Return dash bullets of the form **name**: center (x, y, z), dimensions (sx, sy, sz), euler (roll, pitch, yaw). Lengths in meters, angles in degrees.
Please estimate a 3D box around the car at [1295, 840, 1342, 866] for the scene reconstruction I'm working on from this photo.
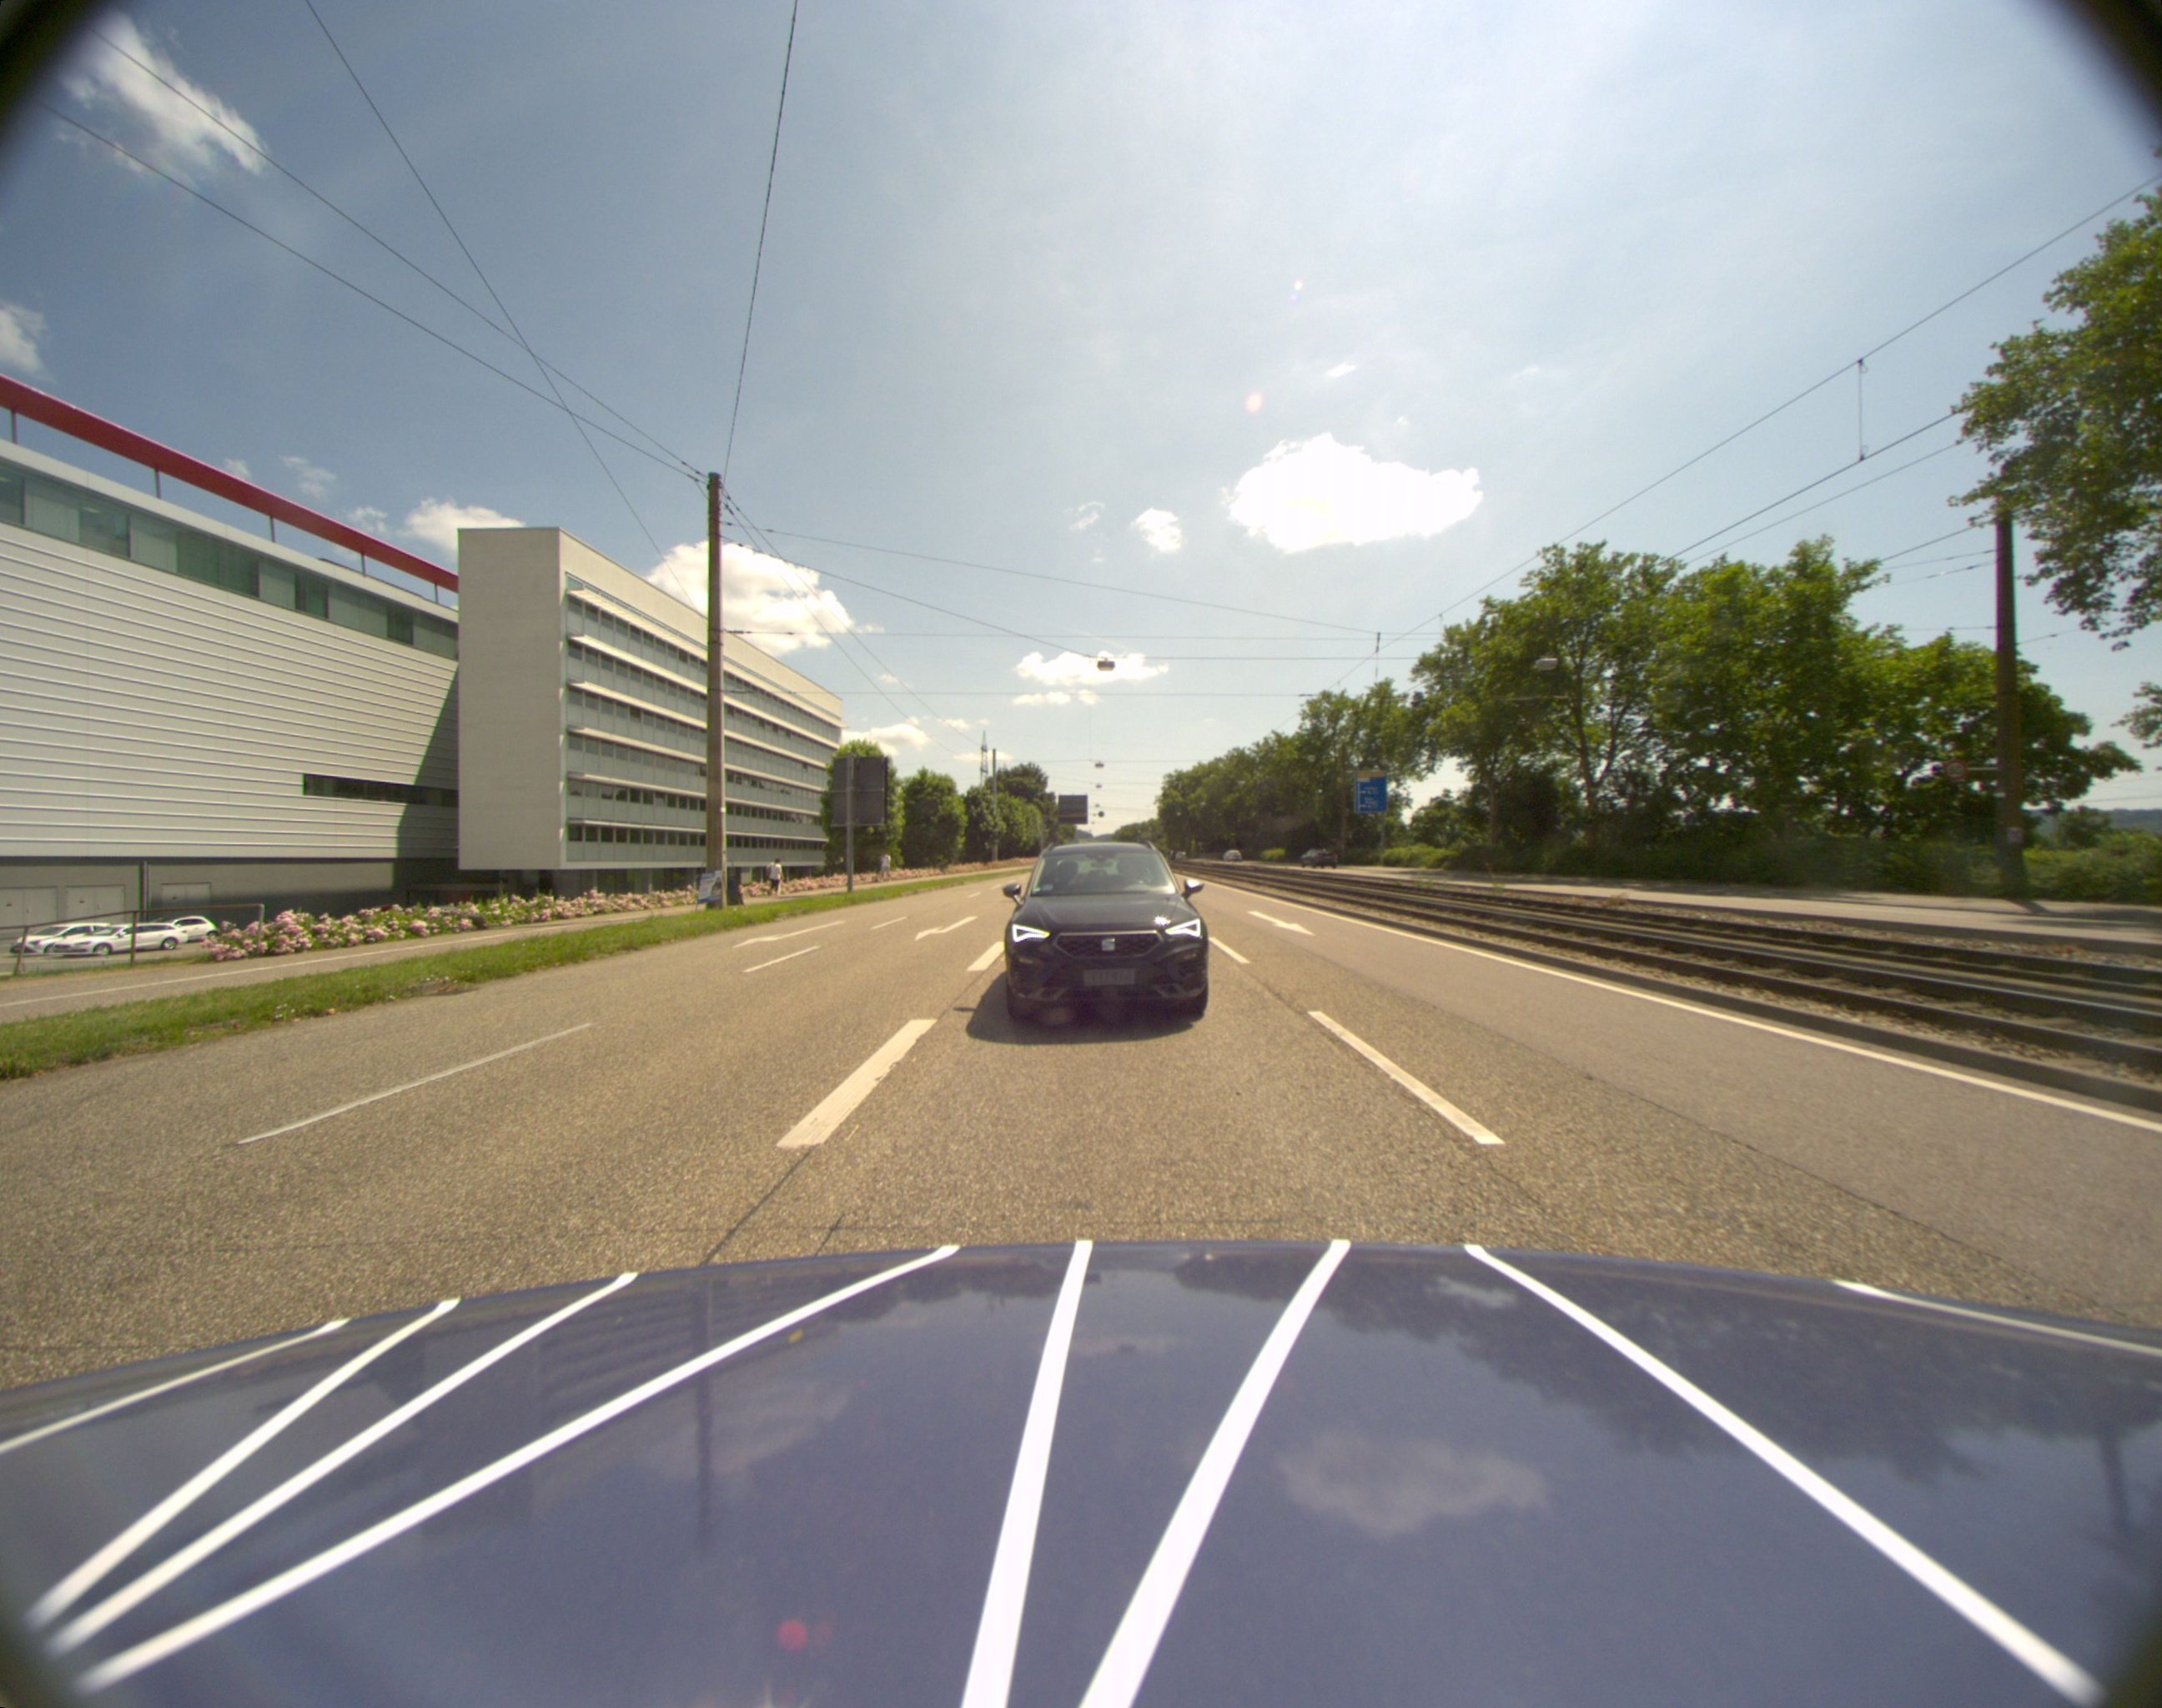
- **car**: center (18.366, -0.075, 58.981), dimensions (1.999, 1.907, 4.408), euler (-2, 1, -4)

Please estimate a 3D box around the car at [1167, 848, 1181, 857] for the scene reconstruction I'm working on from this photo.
- **car**: center (18.455, -0.326, 150.819), dimensions (1.999, 1.820, 4.968), euler (1, 0, -1)

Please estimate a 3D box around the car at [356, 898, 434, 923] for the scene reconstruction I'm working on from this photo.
- **car**: center (-50.199, 4.090, 55.725), dimensions (1.998, 1.439, 3.999), euler (-2, 1, 1)

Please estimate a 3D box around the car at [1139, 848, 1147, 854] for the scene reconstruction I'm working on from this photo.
- **car**: center (18.442, -0.904, 226.708), dimensions (1.999, 1.820, 4.968), euler (1, 0, -1)

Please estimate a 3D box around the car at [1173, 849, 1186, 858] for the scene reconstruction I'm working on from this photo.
- **car**: center (17.565, -0.140, 136.103), dimensions (1.690, 1.574, 4.058), euler (2, 0, -1)

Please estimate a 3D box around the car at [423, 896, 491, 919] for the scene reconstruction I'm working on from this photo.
- **car**: center (-45.462, 3.899, 55.483), dimensions (1.609, 1.314, 3.999), euler (-2, 1, 1)

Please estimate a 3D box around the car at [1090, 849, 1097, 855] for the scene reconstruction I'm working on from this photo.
- **car**: center (3.717, -0.582, 224.299), dimensions (1.998, 1.641, 4.000), euler (-2, 1, 1)

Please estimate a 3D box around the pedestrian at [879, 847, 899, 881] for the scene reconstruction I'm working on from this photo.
- **pedestrian**: center (-10.657, 0.531, 42.275), dimensions (0.758, 1.838, 0.931), euler (-2, 1, 3)

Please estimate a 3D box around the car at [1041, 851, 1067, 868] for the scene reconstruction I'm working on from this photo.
- **car**: center (-2.224, 0.423, 63.675), dimensions (1.896, 1.331, 4.000), euler (-2, 1, 1)

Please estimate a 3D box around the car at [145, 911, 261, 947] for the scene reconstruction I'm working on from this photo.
- **car**: center (-51.129, 4.310, 44.376), dimensions (1.998, 1.603, 3.999), euler (-2, 1, 1)

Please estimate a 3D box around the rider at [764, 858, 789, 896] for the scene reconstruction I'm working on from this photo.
- **rider**: center (-11.911, 0.903, 29.721), dimensions (0.671, 1.449, 0.618), euler (-2, 1, 1)

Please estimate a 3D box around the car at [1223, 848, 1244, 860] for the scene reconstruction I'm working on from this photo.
- **car**: center (18.966, -0.066, 94.442), dimensions (1.827, 1.407, 3.883), euler (1, 1, 1)

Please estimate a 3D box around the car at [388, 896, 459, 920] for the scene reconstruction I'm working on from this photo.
- **car**: center (-48.046, 3.943, 55.654), dimensions (1.648, 1.378, 3.999), euler (-2, 1, 1)

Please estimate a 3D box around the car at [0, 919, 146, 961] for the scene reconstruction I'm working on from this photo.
- **car**: center (-51.271, 4.340, 38.790), dimensions (1.998, 1.603, 3.999), euler (-2, 1, 1)

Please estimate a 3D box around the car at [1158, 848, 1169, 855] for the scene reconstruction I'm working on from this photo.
- **car**: center (19.812, -0.593, 183.200), dimensions (1.999, 1.660, 4.466), euler (1, 0, -2)

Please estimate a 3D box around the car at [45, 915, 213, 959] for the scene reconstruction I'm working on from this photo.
- **car**: center (-48.546, 4.174, 38.970), dimensions (1.998, 1.603, 5.146), euler (-2, 1, 1)

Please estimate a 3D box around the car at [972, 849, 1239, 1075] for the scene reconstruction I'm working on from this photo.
- **car**: center (0.209, 0.773, 7.768), dimensions (1.898, 1.564, 4.511), euler (-1, 1, 1)
